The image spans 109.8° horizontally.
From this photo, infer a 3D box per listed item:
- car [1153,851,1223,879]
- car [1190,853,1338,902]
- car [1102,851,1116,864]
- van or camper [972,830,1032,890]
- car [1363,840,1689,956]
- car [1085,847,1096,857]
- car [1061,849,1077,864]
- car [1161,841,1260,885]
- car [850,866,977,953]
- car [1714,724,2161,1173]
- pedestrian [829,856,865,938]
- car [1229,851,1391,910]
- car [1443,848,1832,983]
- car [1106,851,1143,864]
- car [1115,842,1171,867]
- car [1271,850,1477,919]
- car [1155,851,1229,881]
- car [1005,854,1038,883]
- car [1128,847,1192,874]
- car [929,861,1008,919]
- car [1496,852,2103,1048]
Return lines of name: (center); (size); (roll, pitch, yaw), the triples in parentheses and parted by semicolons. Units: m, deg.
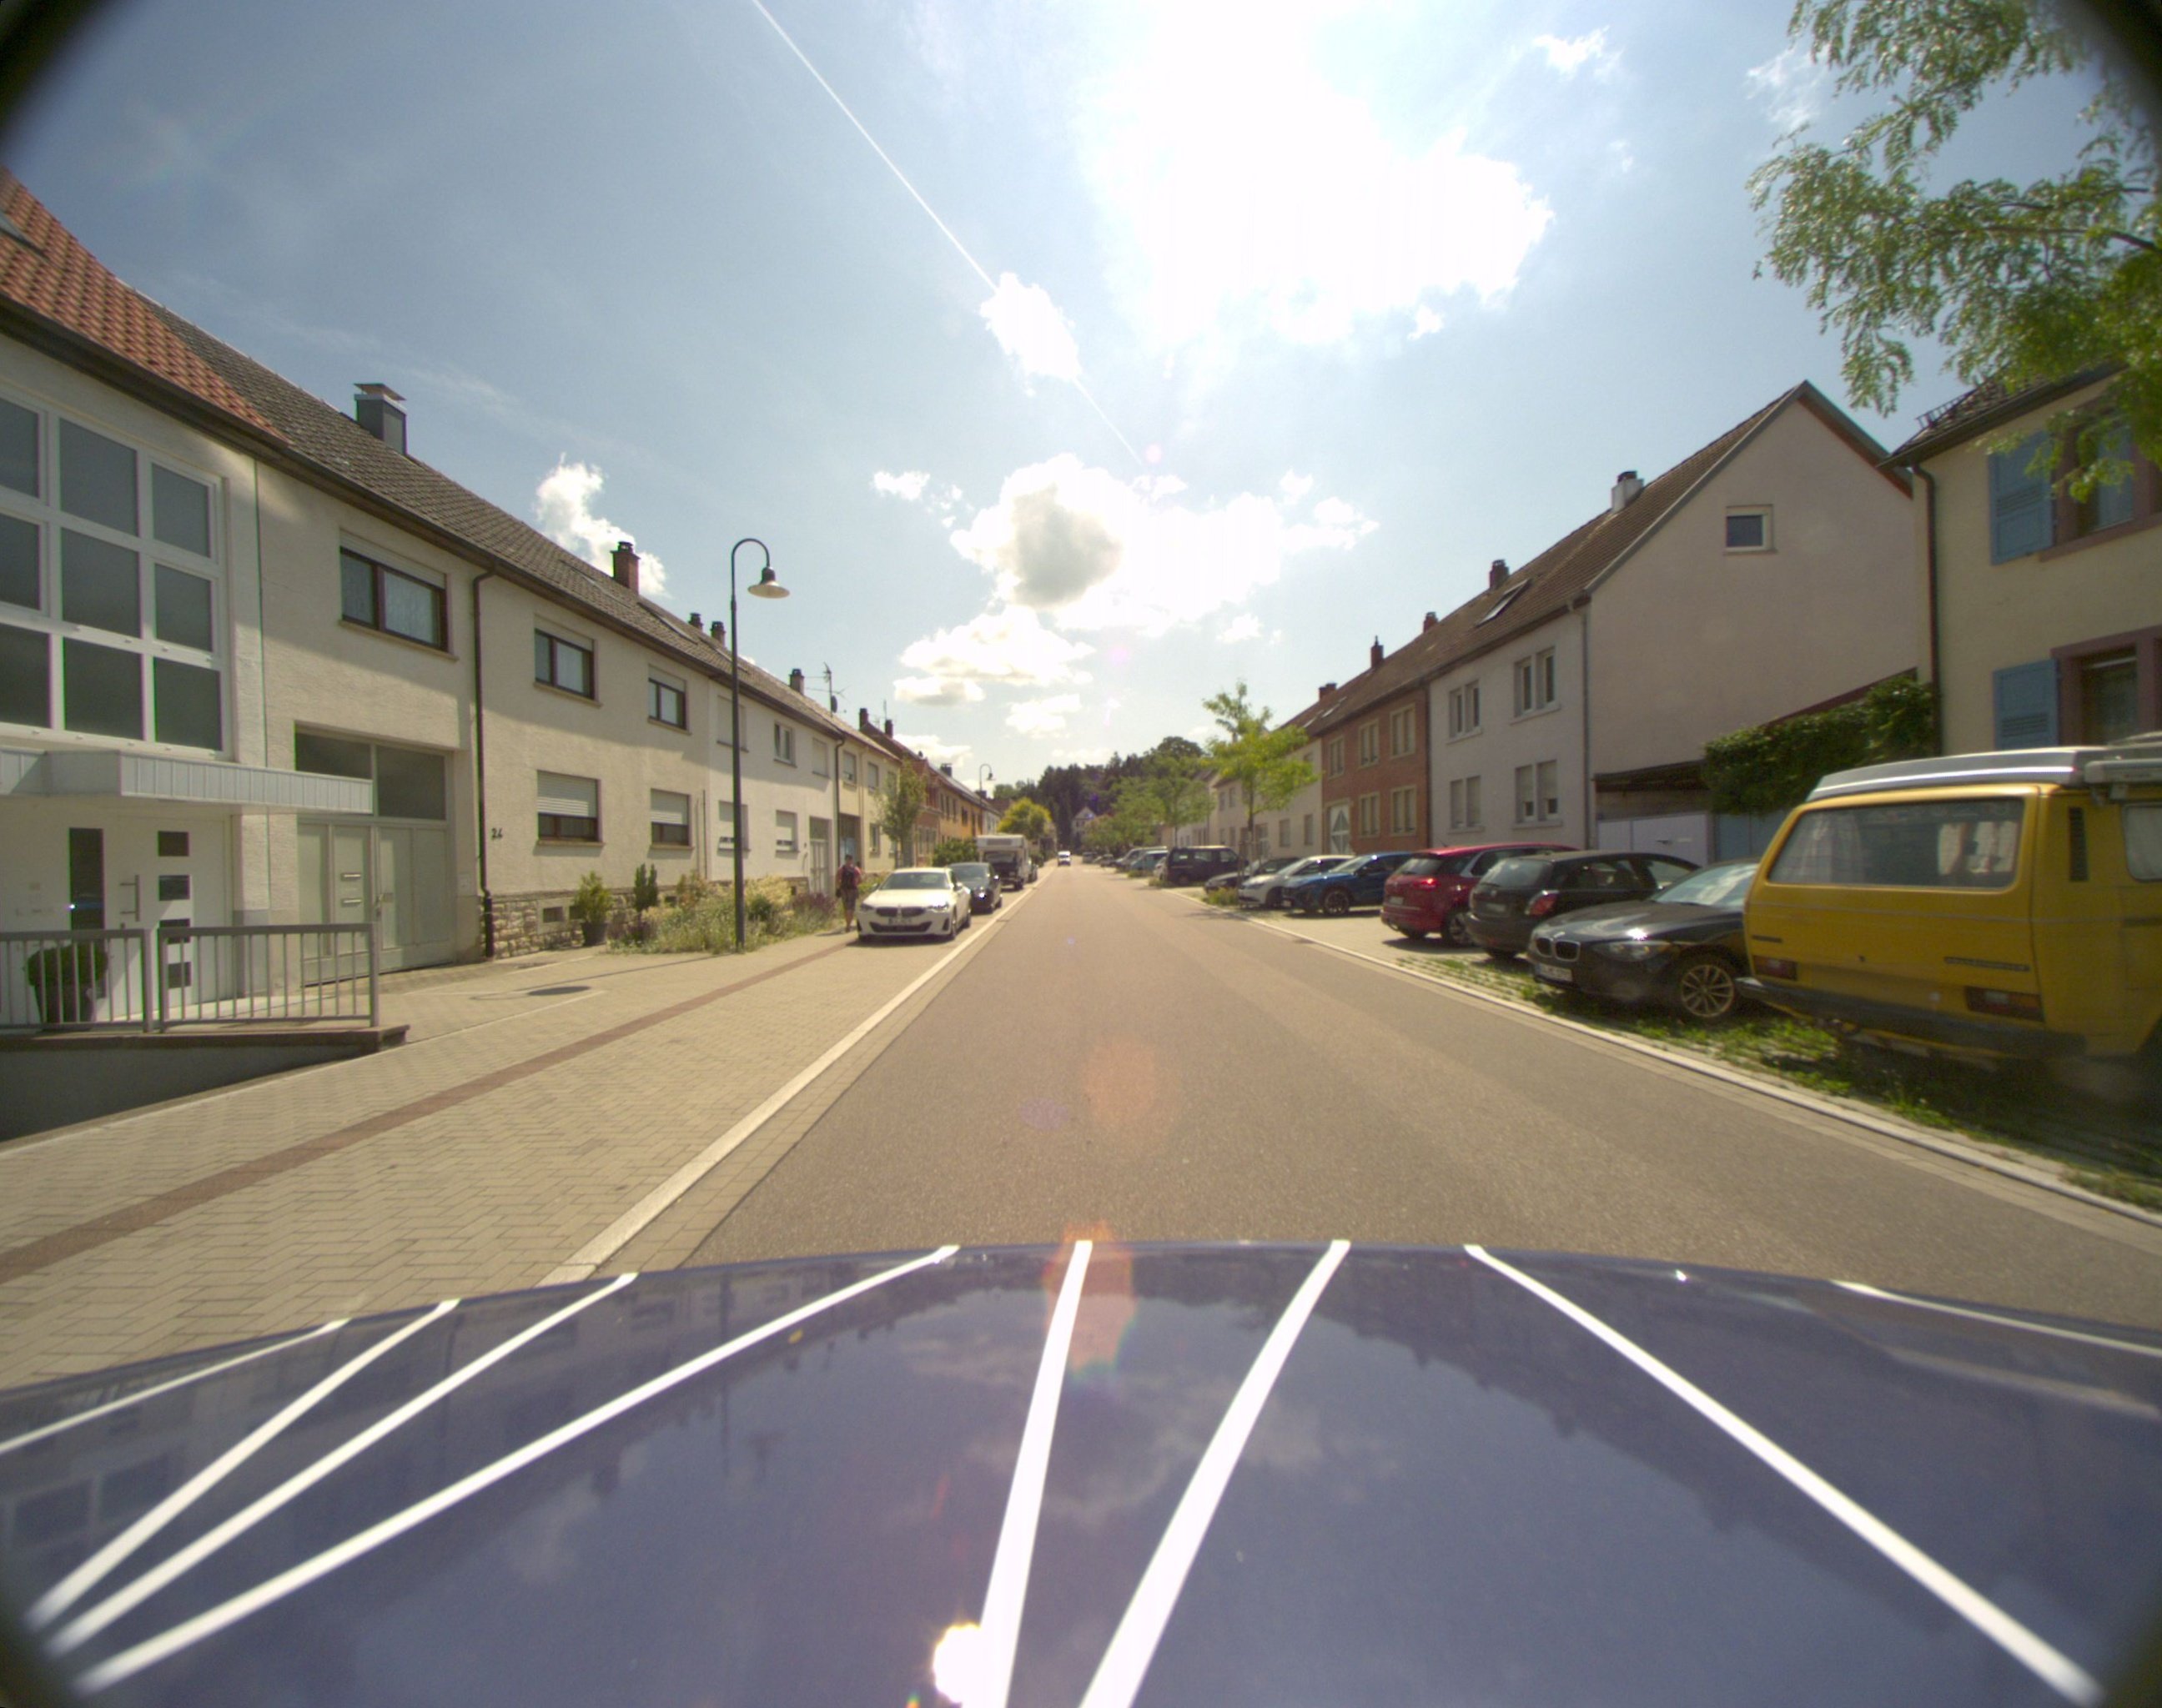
car: (6.335, 0.632, 45.390); (3.925, 1.480, 1.772); (-2, 0, 1)
car: (6.133, 0.775, 25.775); (4.536, 1.417, 1.795); (-2, 0, -1)
car: (3.977, 0.560, 109.282); (1.844, 1.737, 4.687); (-3, -1, 1)
van or camper: (-3.858, 0.292, 38.202); (2.479, 2.793, 5.789); (0, 0, -1)
car: (7.154, 0.666, 12.528); (4.264, 1.602, 1.842); (-2, 0, -1)
car: (1.905, -0.492, 152.930); (1.999, 1.968, 3.999); (-1, 1, -2)
car: (-2.016, 0.435, 128.192); (2.490, 2.306, 5.598); (-3, 1, -1)
car: (6.425, 0.423, 38.098); (4.624, 1.984, 1.953); (-2, 0, 1)
car: (-3.352, 1.037, 16.086); (1.837, 1.457, 4.518); (-1, 0, -2)
car: (6.961, 0.385, 4.669); (4.520, 2.164, 1.925); (-2, 1, -1)
pedestrian: (-5.131, 0.927, 16.680); (0.559, 1.739, 0.673); (-1, 1, 0)
car: (6.485, 0.734, 21.794); (4.065, 1.469, 1.775); (-2, 0, -3)
car: (7.024, 0.718, 9.858); (3.802, 1.451, 1.755); (-2, 0, -3)
car: (5.581, 0.434, 97.321); (4.599, 1.508, 1.901); (-2, 0, -1)
car: (6.135, 0.060, 75.623); (5.180, 2.275, 2.156); (-3, 1, -3)
car: (7.177, 0.719, 18.878); (4.416, 1.469, 1.775); (-2, 0, -4)
car: (6.234, 0.656, 42.894); (3.925, 1.480, 1.772); (-2, 0, 1)
car: (-3.756, 0.881, 48.588); (1.771, 1.695, 4.324); (-1, 0, 0)
car: (6.118, 0.498, 59.289); (4.689, 1.896, 2.000); (-3, 1, 0)
car: (-3.301, 1.021, 23.036); (1.771, 1.520, 4.007); (-1, 0, 0)
car: (6.379, 0.783, 7.104); (4.020, 1.451, 1.755); (-2, 0, -1)
